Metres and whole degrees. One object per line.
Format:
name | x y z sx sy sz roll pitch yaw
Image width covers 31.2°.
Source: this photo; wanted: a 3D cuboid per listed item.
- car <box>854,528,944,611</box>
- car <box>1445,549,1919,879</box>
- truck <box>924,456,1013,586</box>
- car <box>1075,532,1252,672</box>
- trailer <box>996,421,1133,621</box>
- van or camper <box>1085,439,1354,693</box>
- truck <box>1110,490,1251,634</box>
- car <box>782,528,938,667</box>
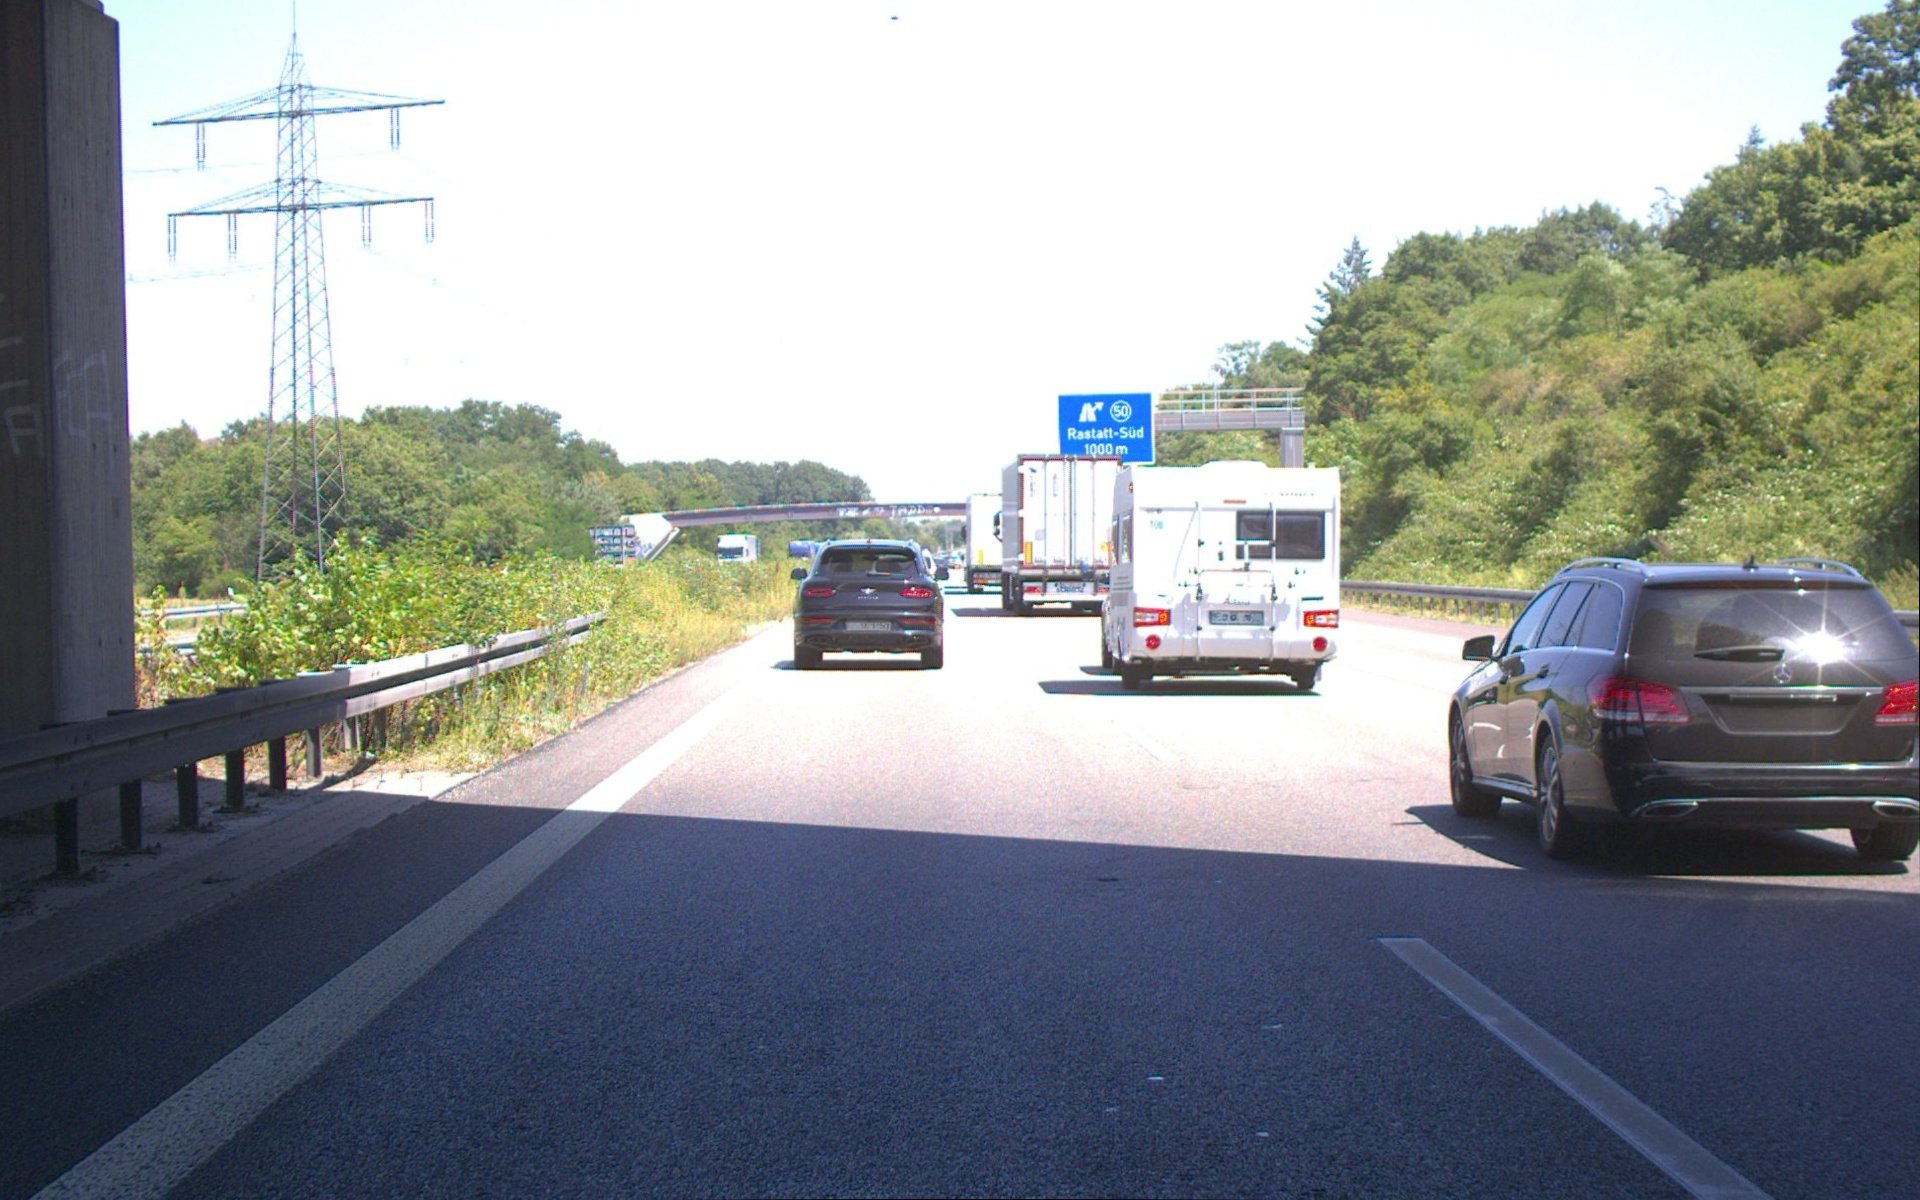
car | -1.415 -0.711 78.230 1.961 1.808 4.449 -1 1 -1
car | 3.778 0.492 18.265 1.841 1.500 4.738 0 1 2
truck | 0.302 -3.200 141.596 3.512 5.149 10.259 0 1 0
car | 2.614 -0.023 45.206 1.879 1.606 4.703 -2 2 -2
trailer | 2.624 -1.990 90.437 3.087 4.868 12.258 1 0 0
van or camper | 2.877 -0.424 39.767 2.439 2.665 6.350 -1 1 -1
truck | 6.829 -1.185 108.367 3.571 4.230 11.652 1 0 0
car | -1.346 -0.068 46.587 1.993 1.766 4.000 -1 1 -1
